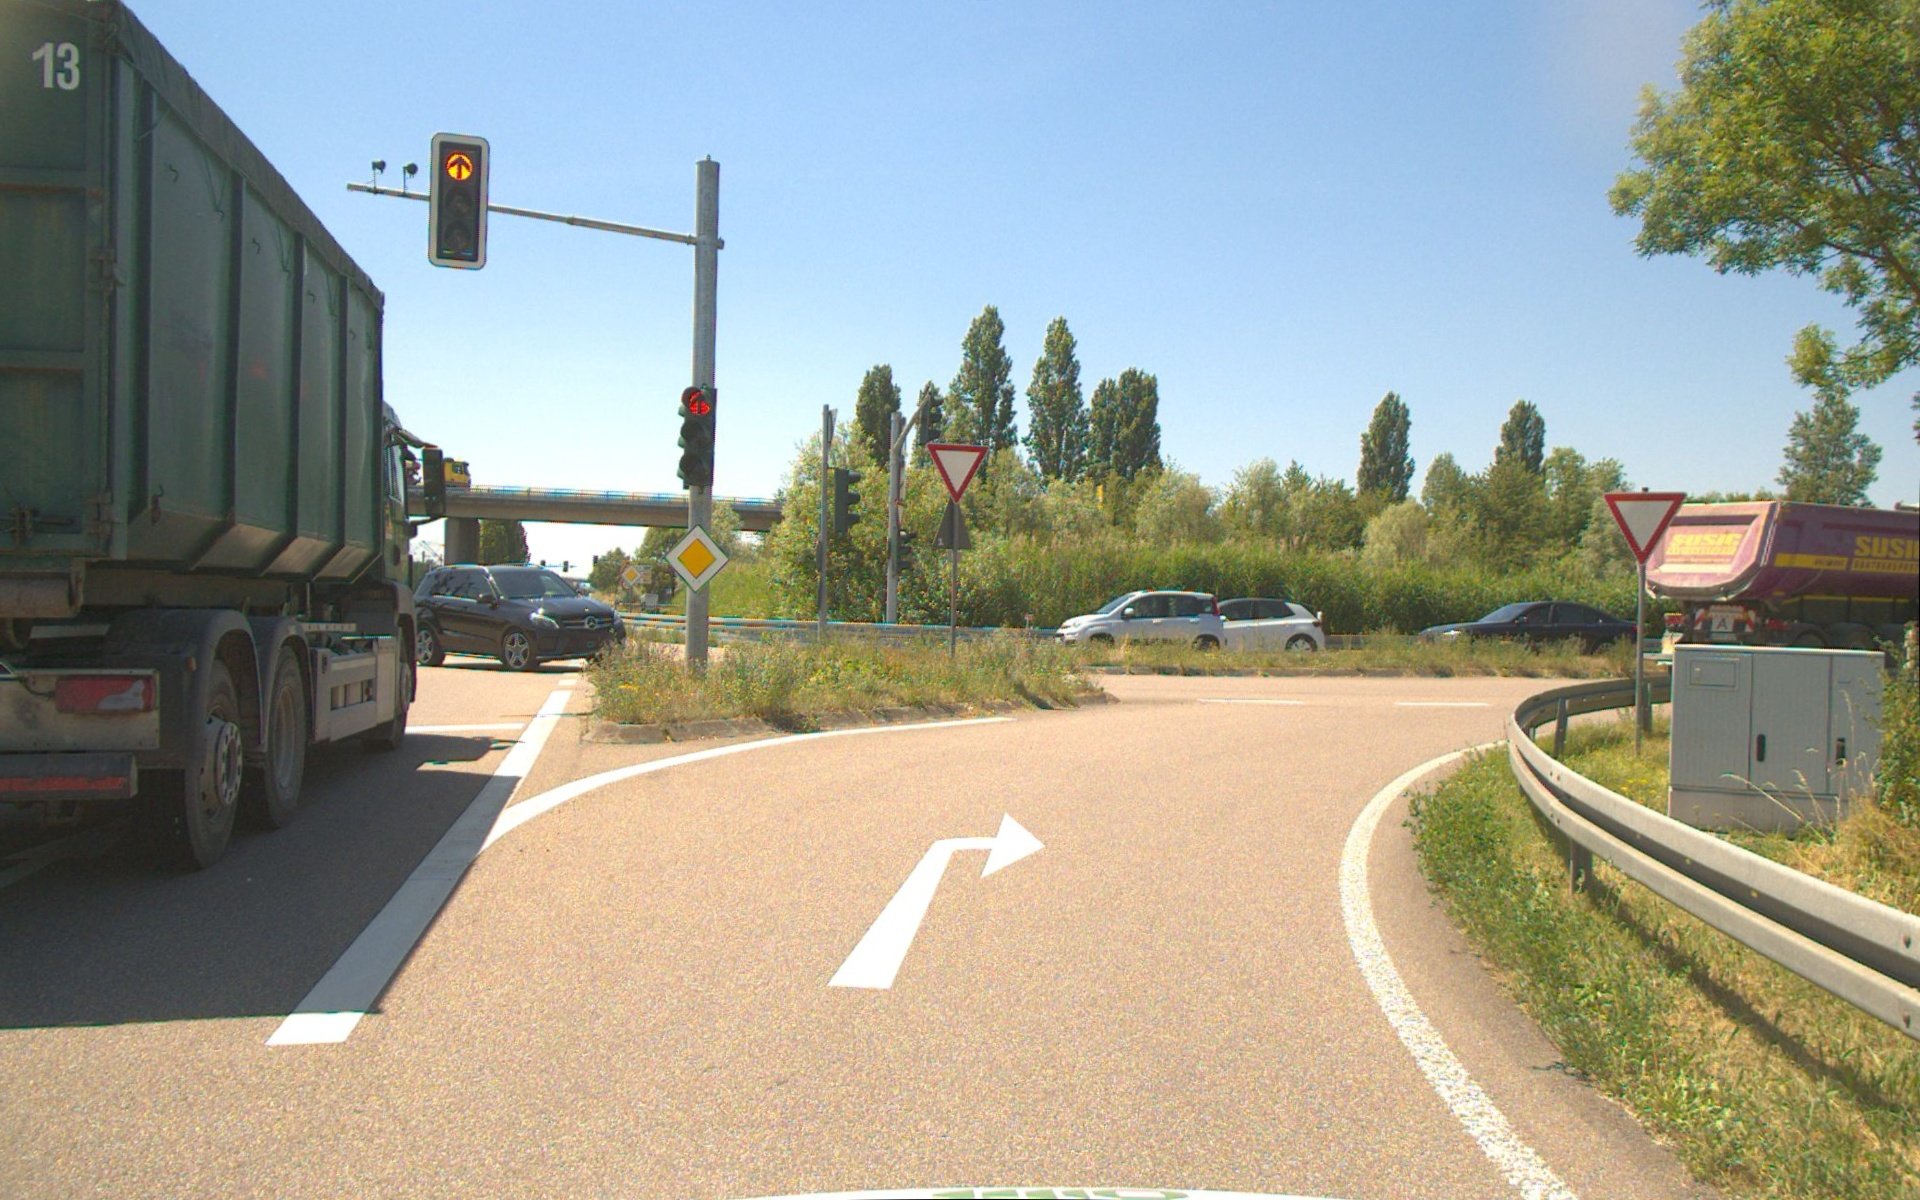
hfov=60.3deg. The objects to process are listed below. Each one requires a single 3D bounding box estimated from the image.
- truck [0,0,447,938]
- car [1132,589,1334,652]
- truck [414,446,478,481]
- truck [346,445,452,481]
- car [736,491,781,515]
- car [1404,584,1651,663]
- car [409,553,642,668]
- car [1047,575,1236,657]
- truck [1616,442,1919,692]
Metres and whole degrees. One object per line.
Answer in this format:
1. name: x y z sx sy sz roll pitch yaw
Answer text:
1. truck: -5.387 -0.657 11.001 2.542 3.802 9.553 0 1 -10
2. car: 6.388 0.469 38.927 4.311 1.422 1.996 0 0 -9
3. truck: -43.970 -11.645 141.468 5.000 2.721 1.995 0 0 -12
4. truck: -47.695 -11.647 140.721 8.344 2.721 1.995 0 0 -11
5. car: -18.971 -9.121 155.985 4.102 2.049 1.995 0 0 -11
6. car: 12.453 0.499 36.417 4.834 1.660 1.930 0 0 -9
7. car: -7.630 0.131 28.791 1.919 1.798 4.522 1 1 -44
8. car: 3.796 0.324 34.827 3.640 1.660 1.730 0 0 -11
9. truck: 17.023 -0.515 29.591 11.703 3.888 2.818 0 0 -27
